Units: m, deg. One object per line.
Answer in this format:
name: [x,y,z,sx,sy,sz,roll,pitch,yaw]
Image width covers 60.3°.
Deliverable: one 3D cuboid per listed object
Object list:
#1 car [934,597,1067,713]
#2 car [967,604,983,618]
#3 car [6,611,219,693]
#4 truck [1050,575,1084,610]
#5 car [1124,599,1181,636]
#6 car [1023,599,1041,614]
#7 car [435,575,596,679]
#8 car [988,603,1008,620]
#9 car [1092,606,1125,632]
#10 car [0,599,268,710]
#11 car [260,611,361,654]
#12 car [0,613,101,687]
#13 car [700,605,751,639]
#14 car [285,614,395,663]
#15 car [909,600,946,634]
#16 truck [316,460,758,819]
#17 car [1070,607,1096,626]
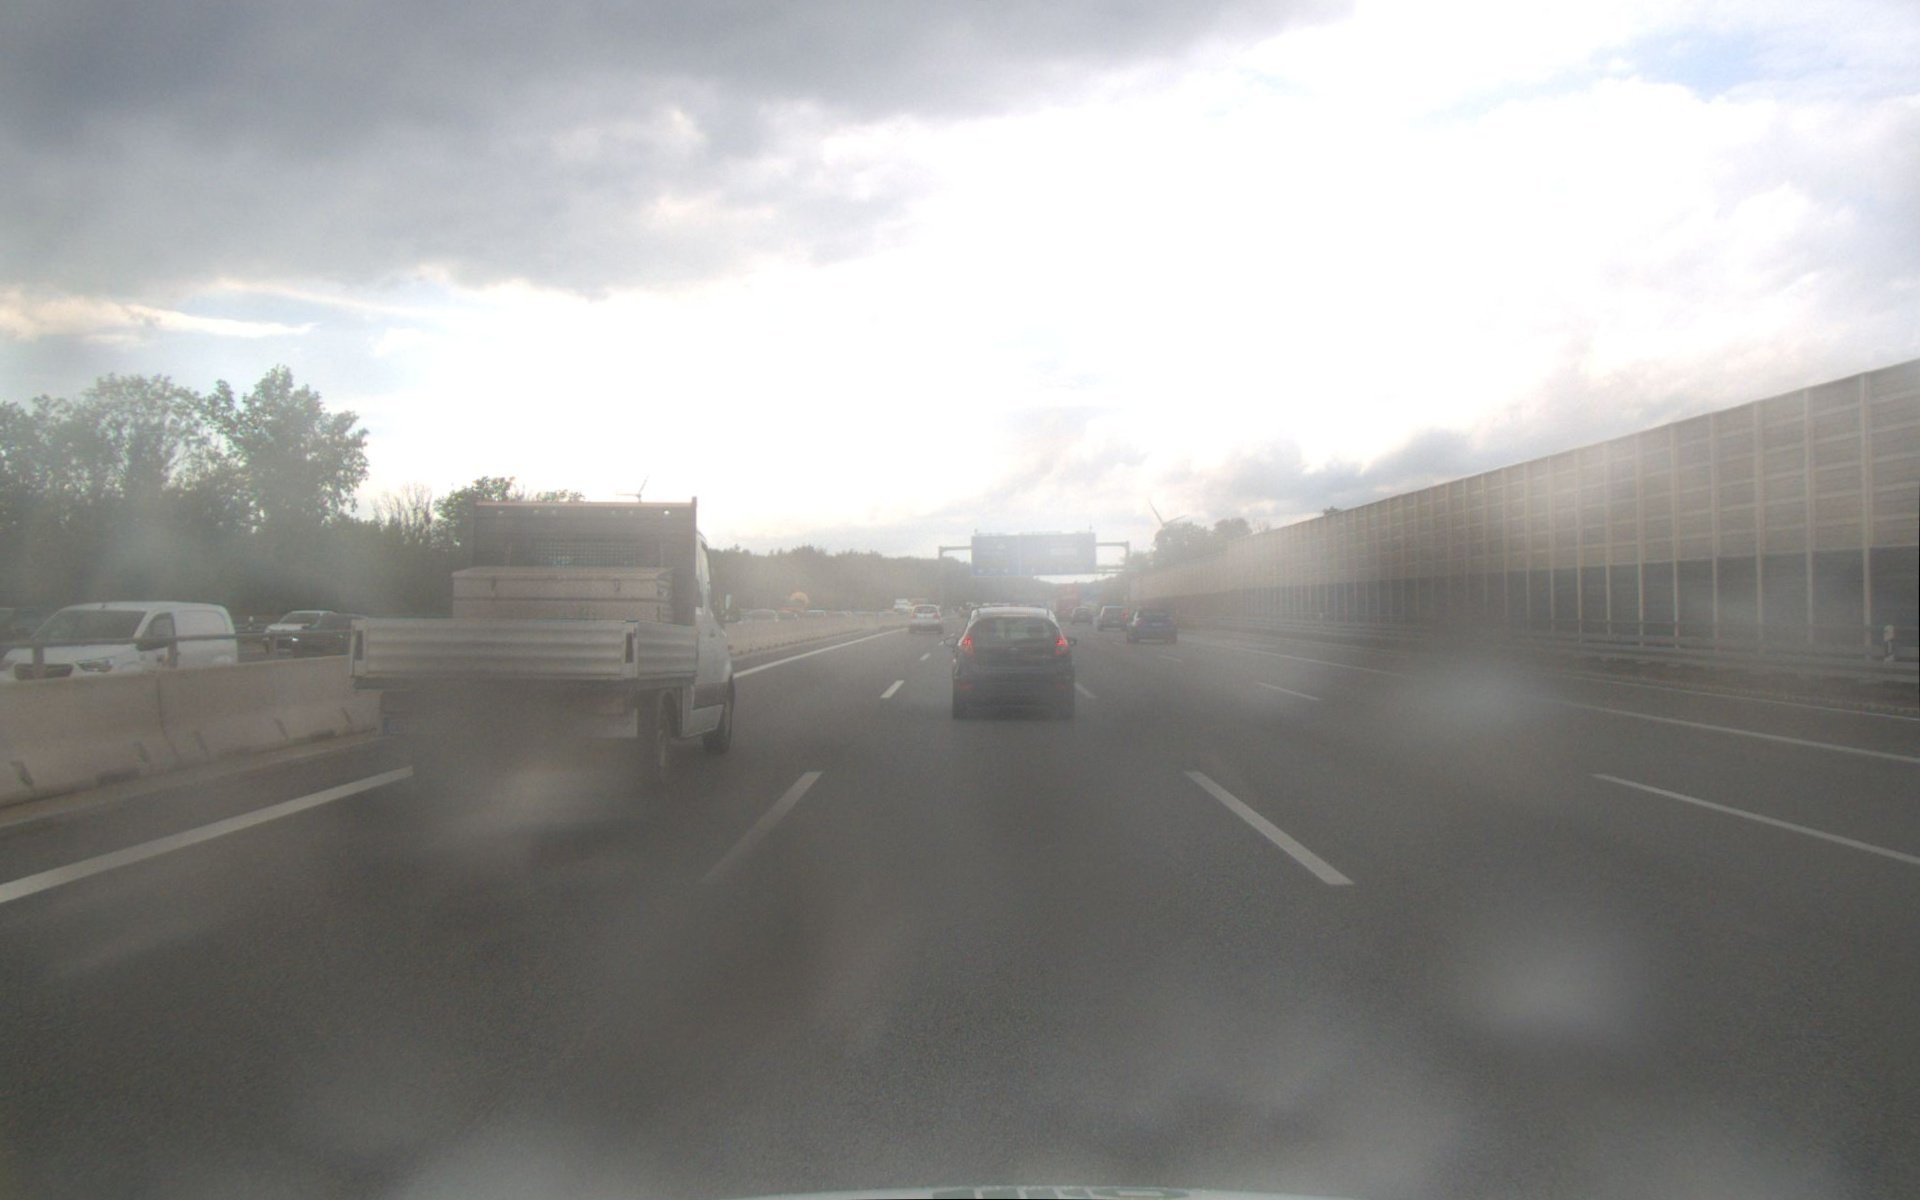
car: [0.534,0.700,23.255,1.682,1.441,4.278,0,0,0]
car: [1.795,1.330,199.559,1.927,1.588,4.433,-1,-1,0]
car: [-17.193,1.007,33.830,2.018,1.561,4.519,-1,0,0]
truck: [11.933,-0.838,185.202,3.088,3.665,12.699,1,0,0]
car: [7.923,0.727,68.436,1.909,1.443,4.232,-1,-1,1]
car: [8.330,0.766,192.115,1.927,1.588,4.432,-1,-1,0]
car: [-13.197,0.674,49.912,2.185,2.797,9.166,0,1,1]
car: [3.753,1.148,163.763,1.927,1.588,4.433,-1,-1,0]
car: [9.357,1.215,104.760,1.843,1.569,4.434,-1,-1,2]
car: [-13.149,0.797,26.235,2.018,1.561,5.470,-1,0,0]
car: [-23.461,1.168,59.887,1.687,1.490,4.520,1,-1,2]
car: [-20.385,1.036,35.178,1.687,1.490,4.520,1,-1,2]
car: [-12.001,1.132,85.084,1.687,1.675,5.063,1,-1,2]
car: [-20.091,1.218,53.770,1.687,1.490,4.520,1,-1,2]
car: [-1.667,0.856,86.289,1.681,1.652,4.280,0,0,2]
truck: [-3.368,0.252,15.047,2.260,2.482,7.147,0,0,-1]
car: [10.451,1.415,140.532,1.844,1.588,4.433,-1,-1,0]
